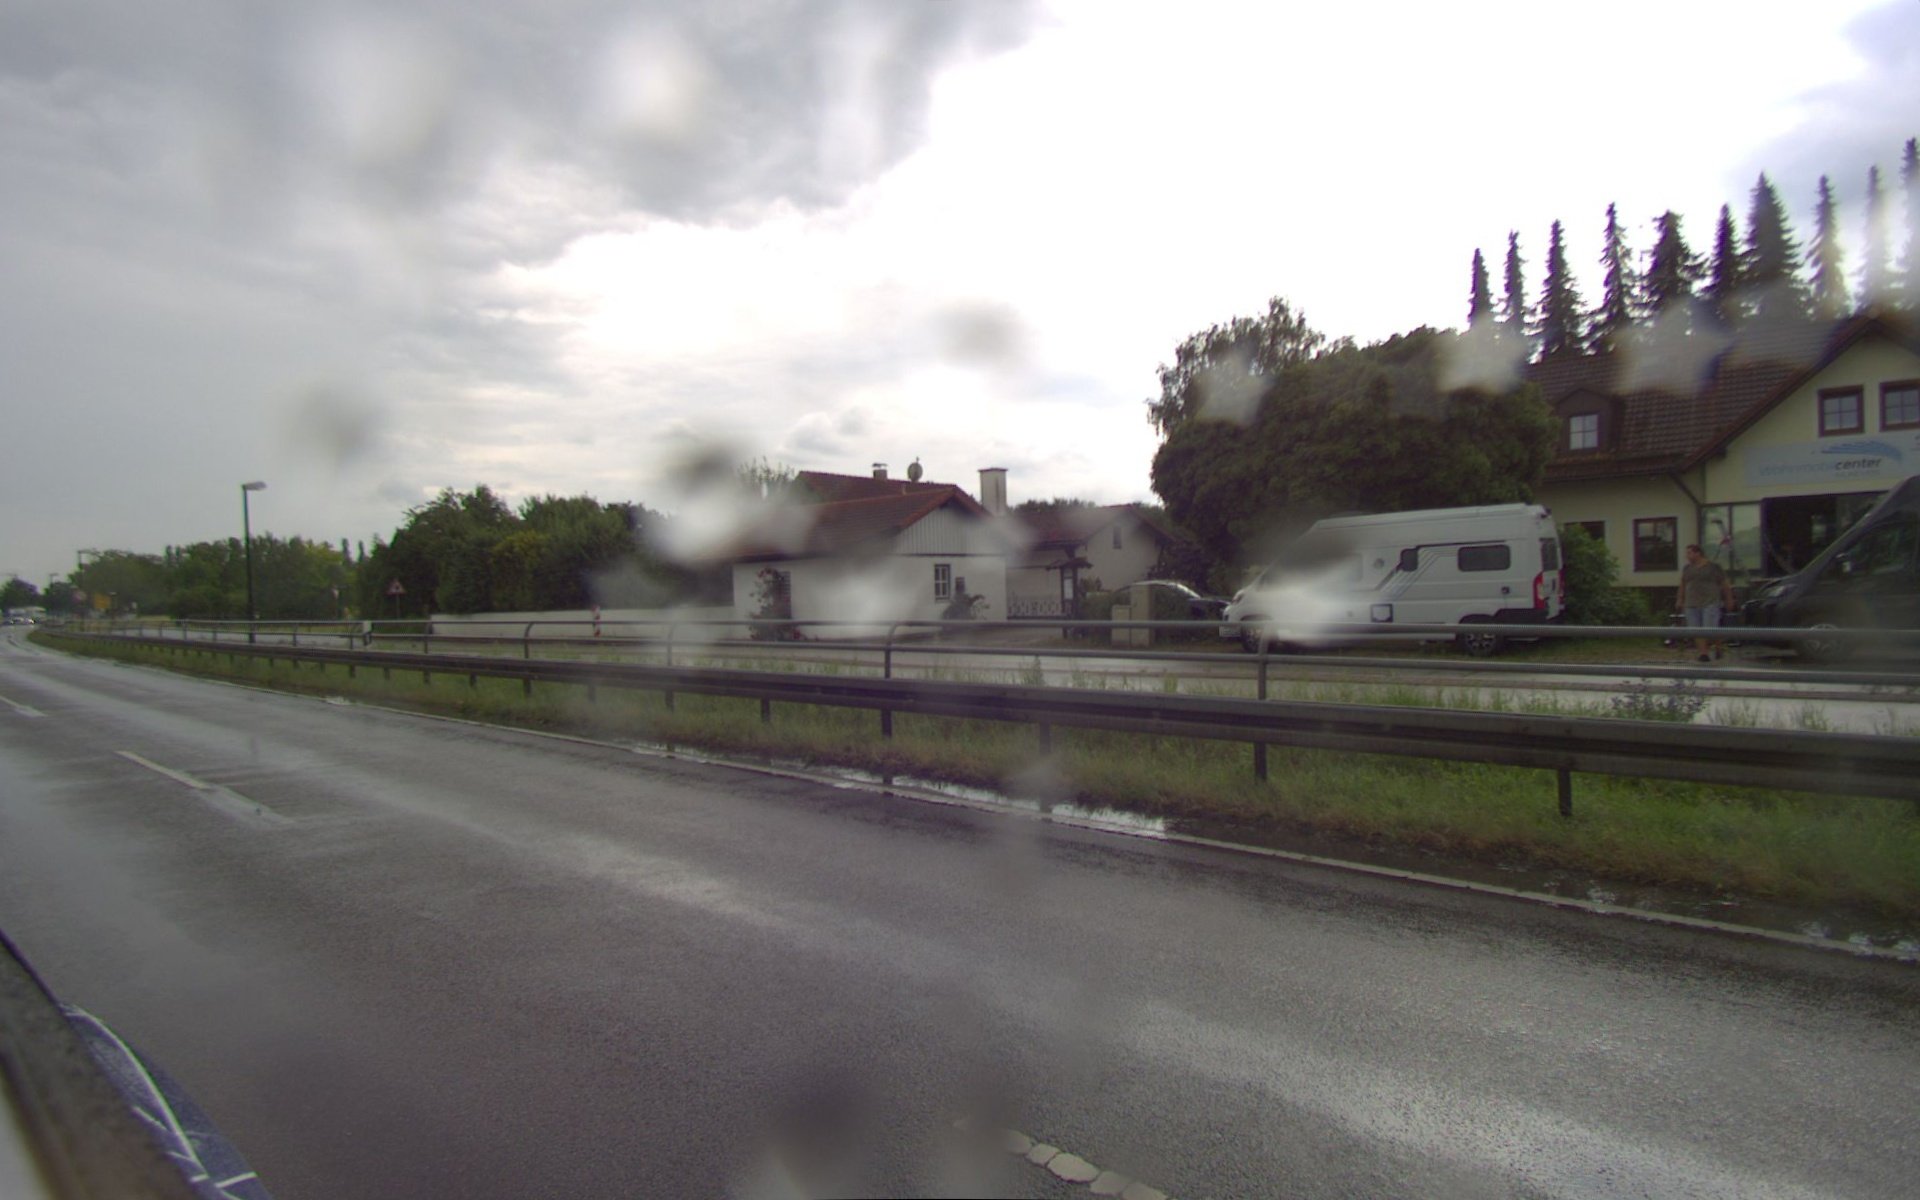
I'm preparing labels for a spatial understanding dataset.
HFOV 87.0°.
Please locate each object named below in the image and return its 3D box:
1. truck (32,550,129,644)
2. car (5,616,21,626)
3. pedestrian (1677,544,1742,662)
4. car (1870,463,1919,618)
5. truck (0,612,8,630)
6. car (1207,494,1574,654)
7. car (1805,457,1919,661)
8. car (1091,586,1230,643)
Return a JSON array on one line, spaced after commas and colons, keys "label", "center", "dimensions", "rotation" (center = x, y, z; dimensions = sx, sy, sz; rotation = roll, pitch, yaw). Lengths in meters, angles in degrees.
[{"label": "truck", "center": [-50.726, -0.137, 58.281], "dimensions": [7.782, 5.071, 3.214], "rotation": [-1, 1, 42]}, {"label": "car", "center": [-178.718, 4.009, 191.007], "dimensions": [4.025, 1.746, 1.788], "rotation": [-2, 1, 42]}, {"label": "pedestrian", "center": [11.197, 0.041, 15.124], "dimensions": [0.509, 1.723, 0.651], "rotation": [-2, 1, -41]}, {"label": "car", "center": [19.595, -1.167, 19.995], "dimensions": [2.166, 2.786, 5.580], "rotation": [-2, 1, 40]}, {"label": "truck", "center": [-136.436, 3.068, 142.787], "dimensions": [7.170, 2.494, 2.762], "rotation": [-1, 1, 44]}, {"label": "car", "center": [8.022, -0.402, 19.315], "dimensions": [6.014, 2.600, 2.215], "rotation": [-2, 1, 40]}, {"label": "car", "center": [15.136, -0.632, 13.671], "dimensions": [5.566, 2.783, 2.360], "rotation": [-2, 1, 39]}, {"label": "car", "center": [5.213, 0.376, 26.498], "dimensions": [3.269, 1.366, 1.433], "rotation": [-1, 1, 42]}]
